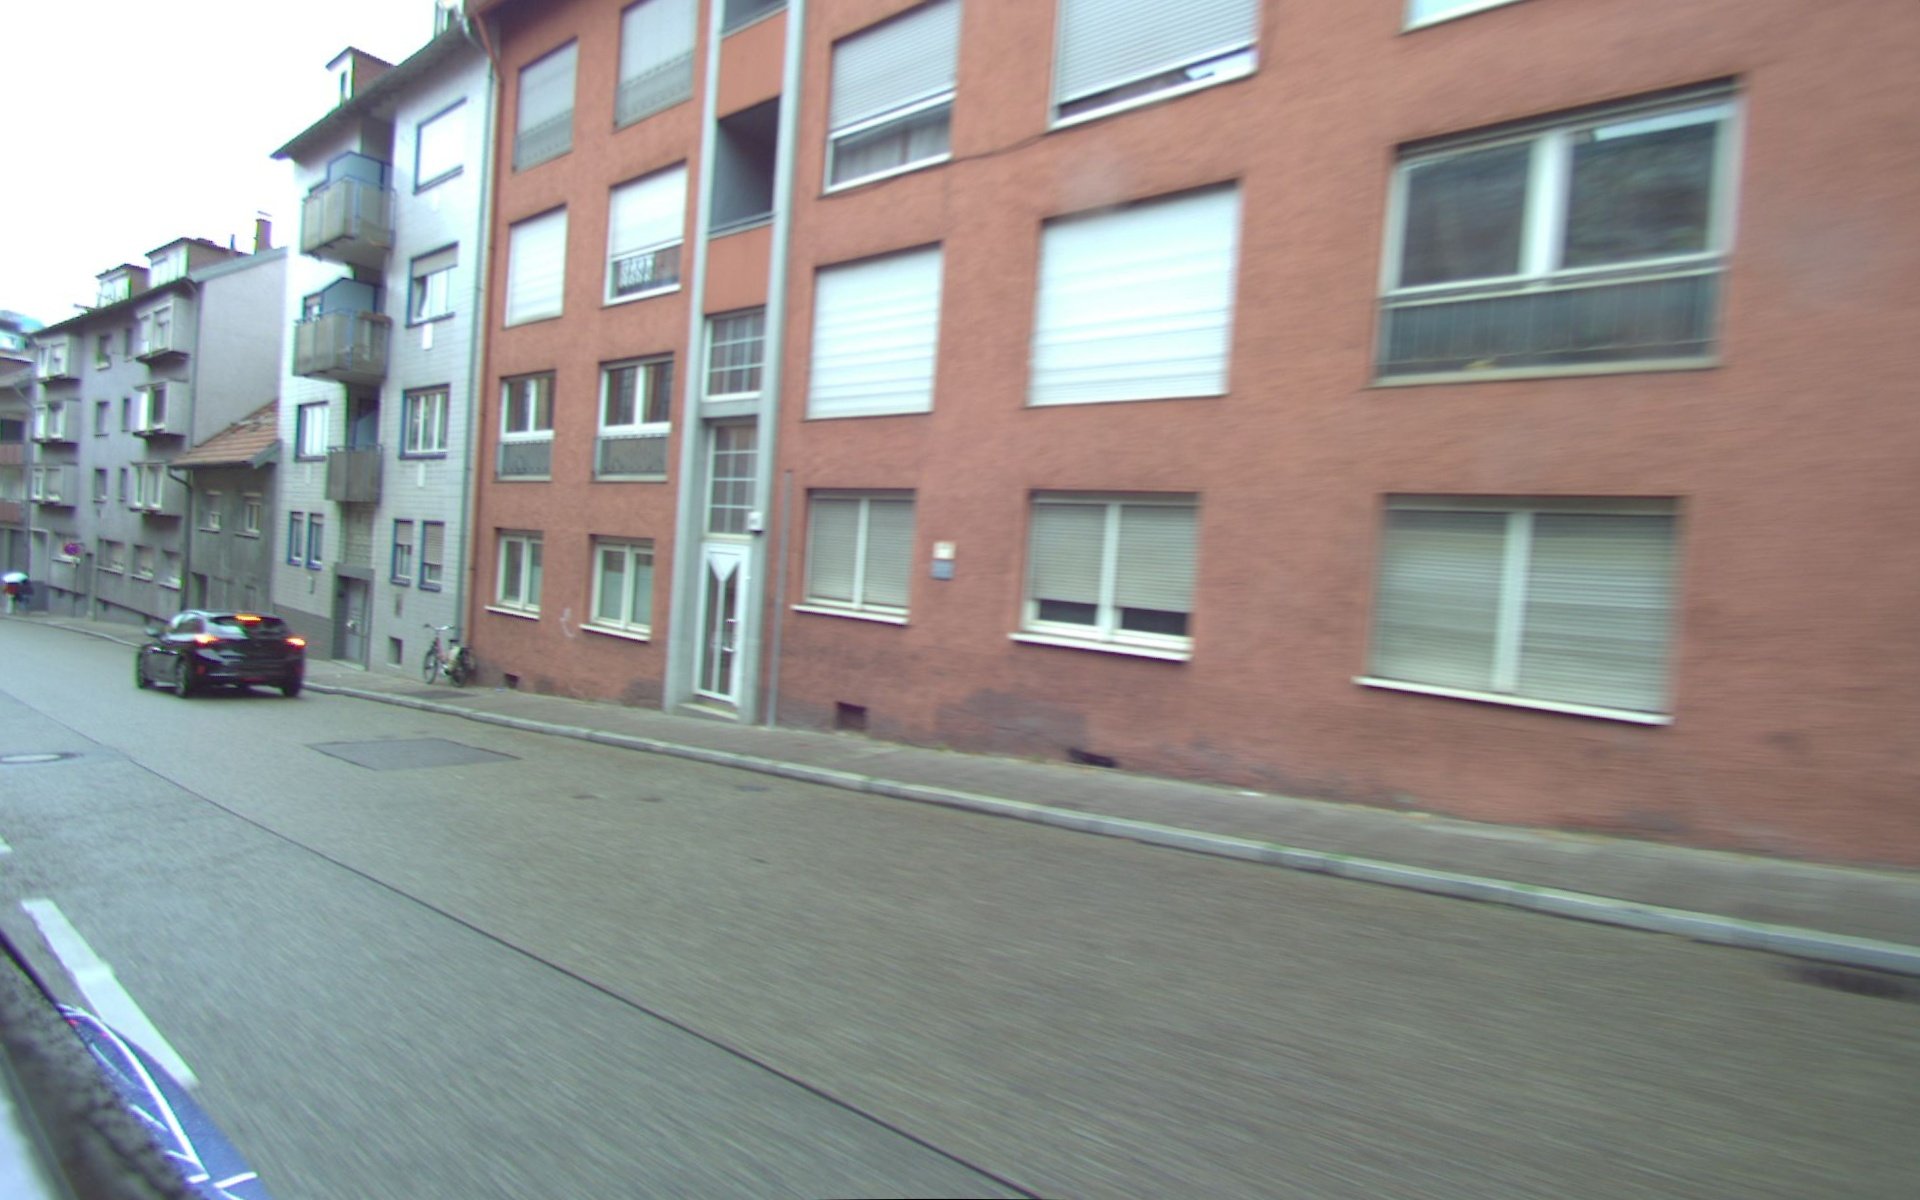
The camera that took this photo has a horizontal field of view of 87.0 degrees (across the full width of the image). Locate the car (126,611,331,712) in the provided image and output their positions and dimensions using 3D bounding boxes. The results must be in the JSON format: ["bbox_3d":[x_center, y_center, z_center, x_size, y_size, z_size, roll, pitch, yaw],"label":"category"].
[{"bbox_3d":[-12.748,1.027,17.566,3.998,1.490,1.972,0,-4,41],"label":"car"}]

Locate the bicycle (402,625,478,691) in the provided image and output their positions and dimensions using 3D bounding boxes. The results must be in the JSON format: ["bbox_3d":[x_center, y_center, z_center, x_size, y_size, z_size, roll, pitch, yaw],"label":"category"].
[{"bbox_3d":[-9.718,1.051,18.868,2.039,1.125,0.565,0,1,42],"label":"bicycle"}]

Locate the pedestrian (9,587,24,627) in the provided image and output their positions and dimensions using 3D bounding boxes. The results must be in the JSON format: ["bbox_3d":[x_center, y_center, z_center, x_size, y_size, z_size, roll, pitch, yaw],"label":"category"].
[{"bbox_3d":[-42.441,0.323,45.518,0.498,1.793,0.377,1,0,32],"label":"pedestrian"}]

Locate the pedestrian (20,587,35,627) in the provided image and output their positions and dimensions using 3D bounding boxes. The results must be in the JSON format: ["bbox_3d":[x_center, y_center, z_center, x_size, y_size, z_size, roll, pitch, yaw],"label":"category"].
[{"bbox_3d":[-42.242,0.323,45.839,0.498,1.793,0.351,1,0,32],"label":"pedestrian"}]

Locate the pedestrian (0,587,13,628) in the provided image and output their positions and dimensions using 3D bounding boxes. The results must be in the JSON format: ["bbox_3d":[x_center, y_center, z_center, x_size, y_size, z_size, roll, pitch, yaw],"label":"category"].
[{"bbox_3d":[-42.632,0.322,45.187,0.498,1.793,0.382,1,0,32],"label":"pedestrian"}]
